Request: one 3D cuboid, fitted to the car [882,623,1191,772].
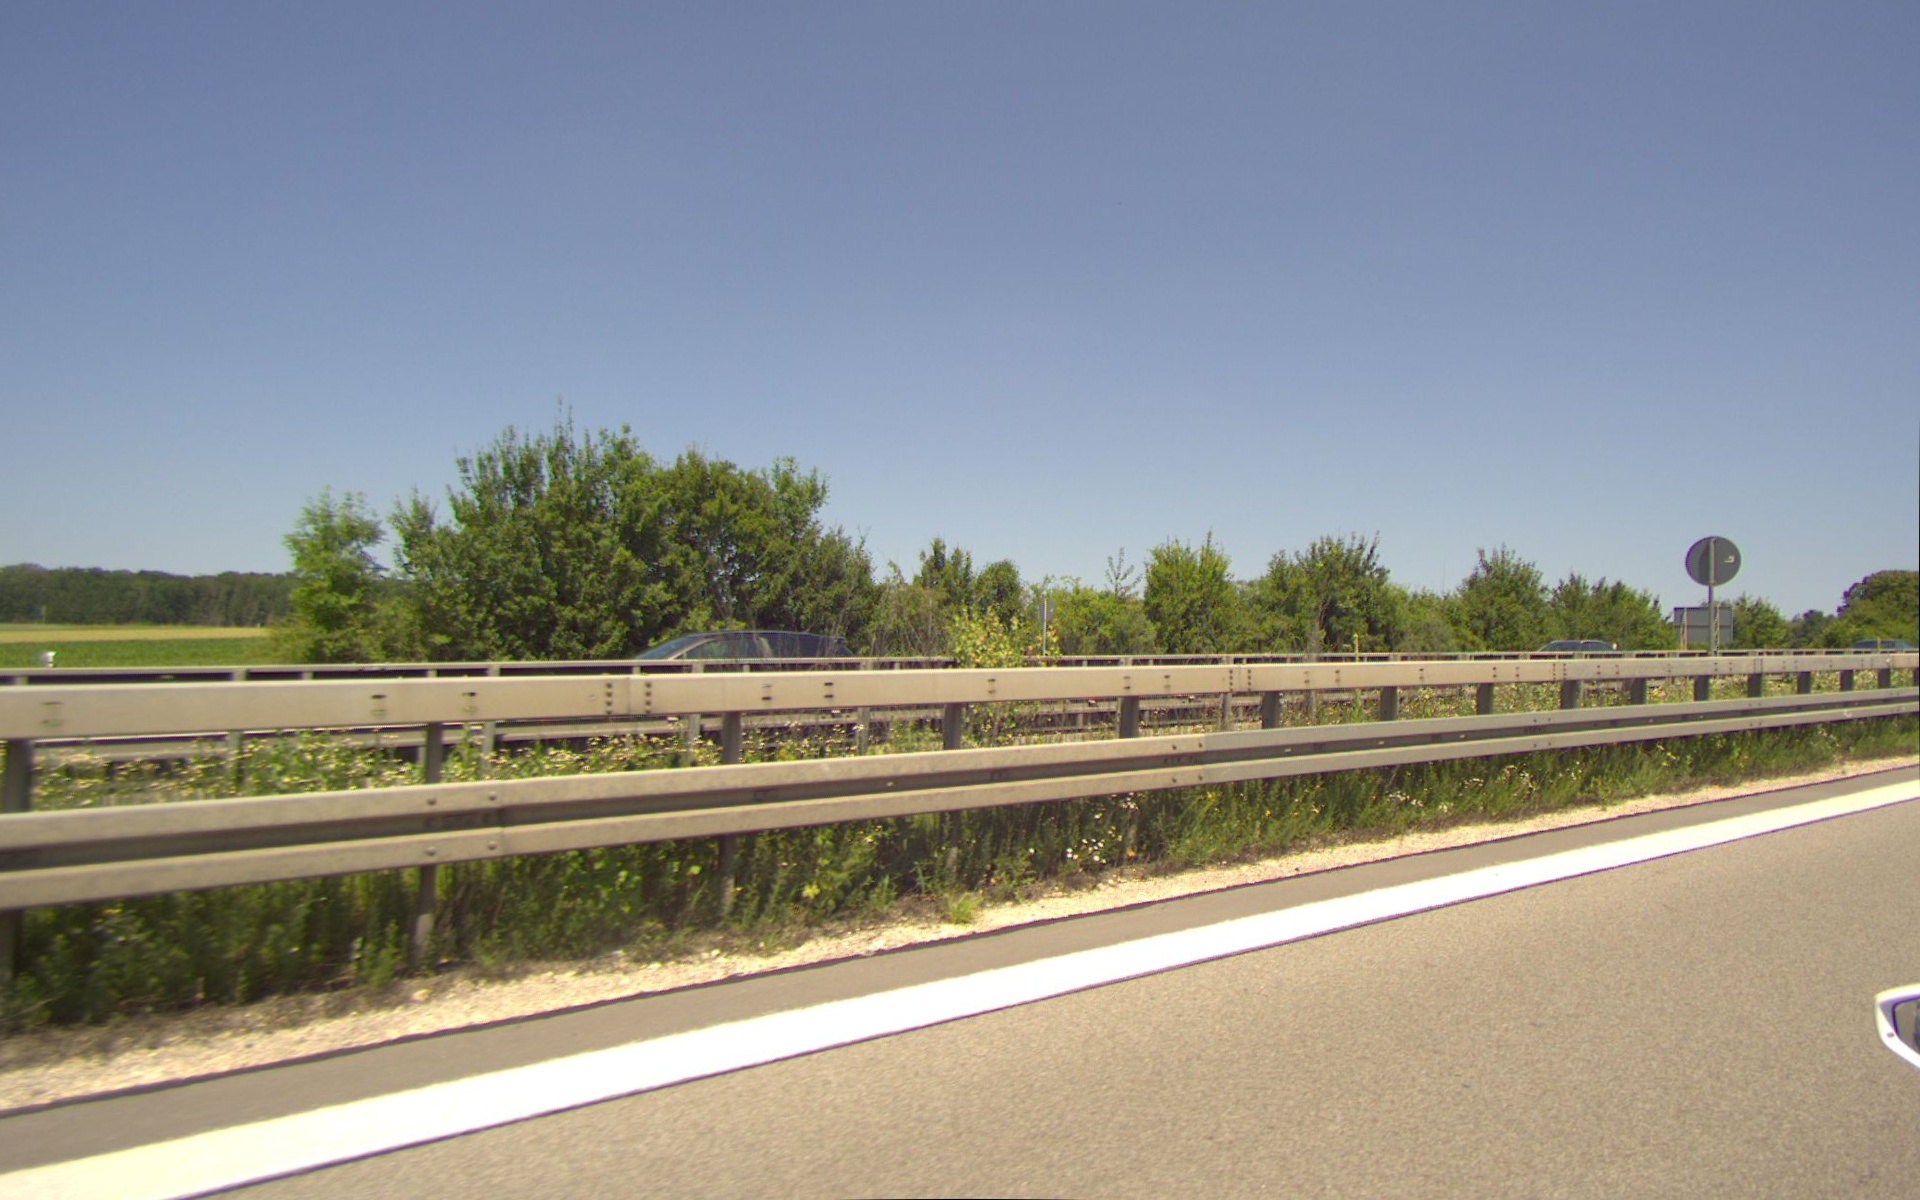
[{"bbox_3d":[0.959,1.112,12.287,3.444,1.550,1.629,2,-1,-30],"label":"car"}]
